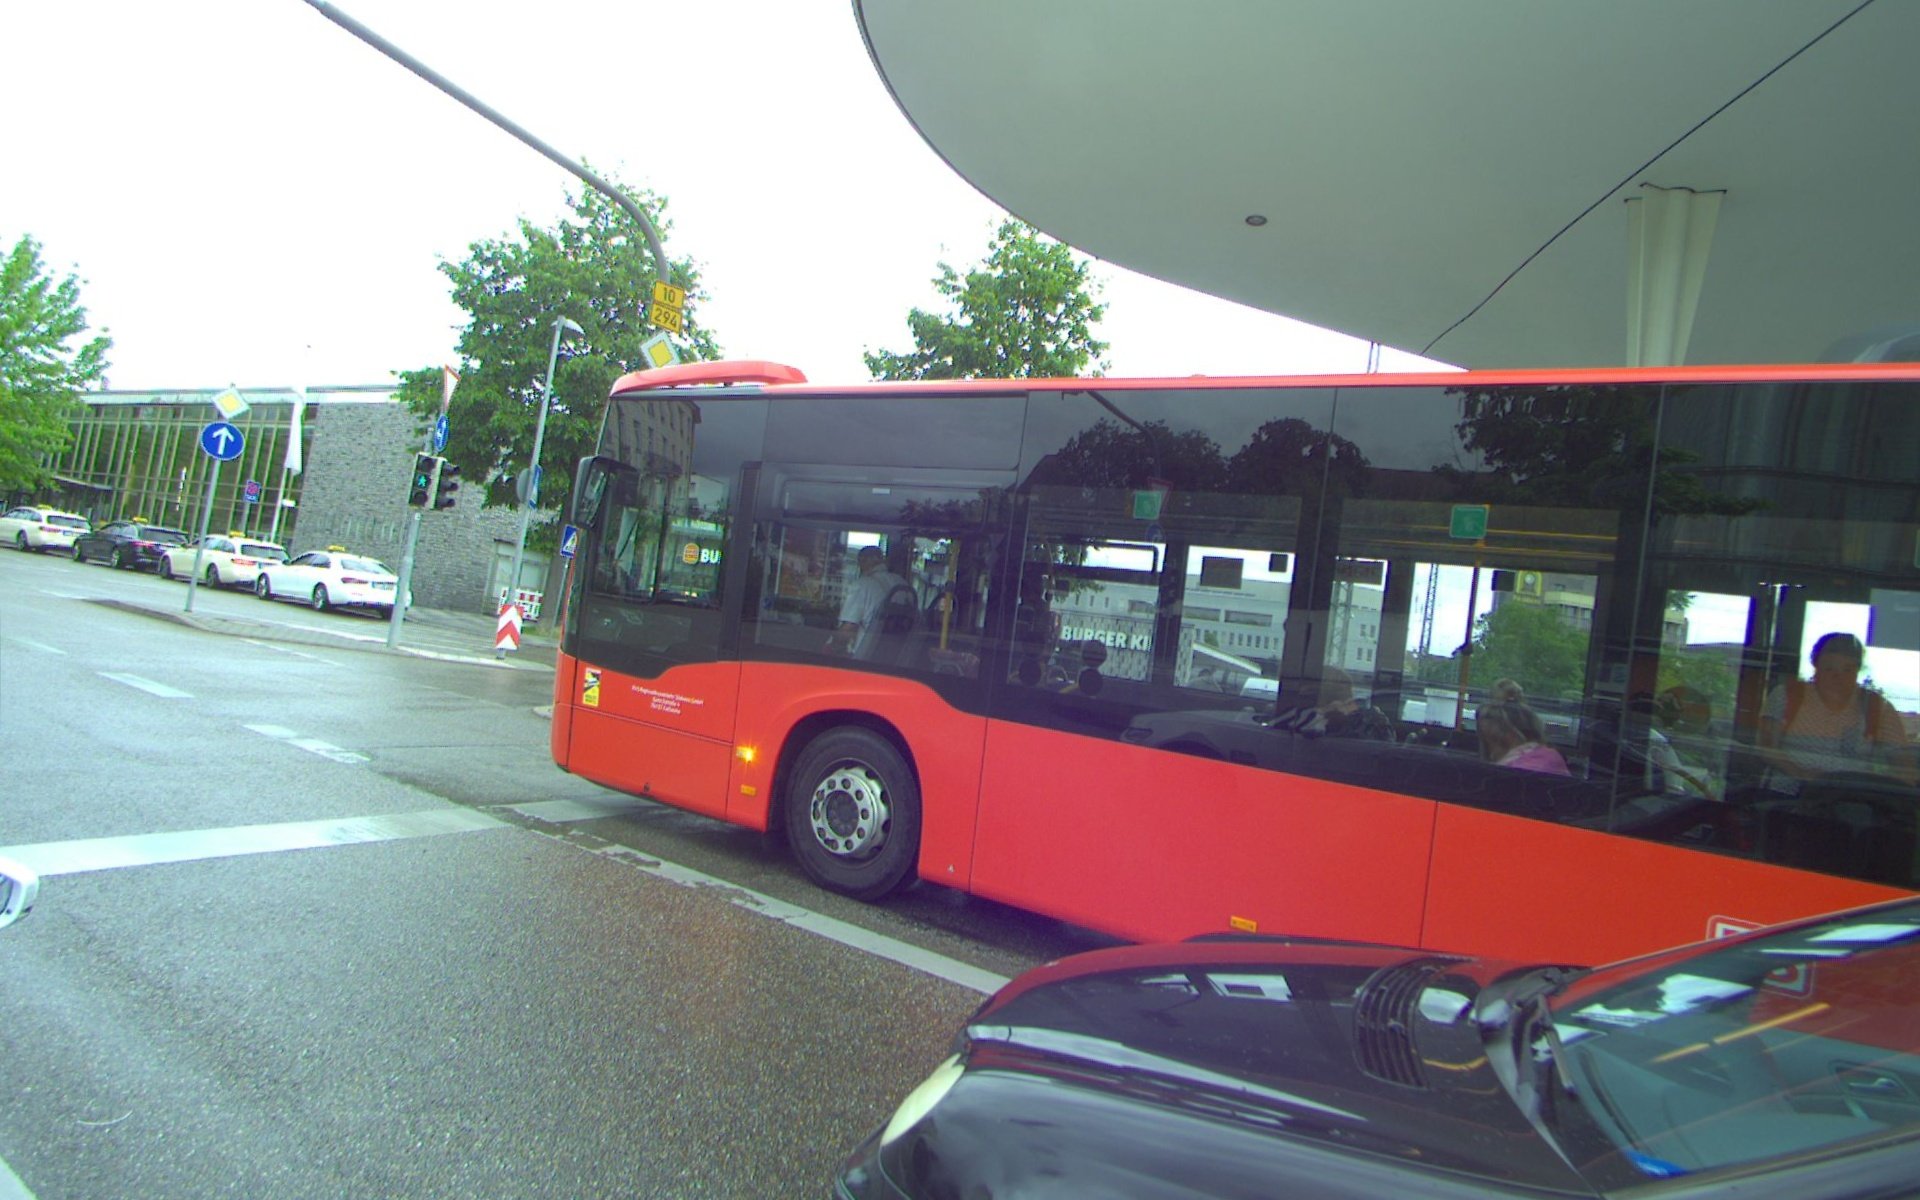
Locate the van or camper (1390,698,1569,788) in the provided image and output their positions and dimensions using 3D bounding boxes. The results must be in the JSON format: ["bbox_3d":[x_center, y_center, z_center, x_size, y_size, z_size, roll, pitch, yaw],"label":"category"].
[{"bbox_3d":[20.350,5.545,39.539,5.873,2.491,2.108,7,-2,32],"label":"van or camper"}]

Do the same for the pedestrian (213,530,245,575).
[{"bbox_3d":[-29.198,-1.907,40.184,0.703,1.665,0.566,7,-1,27],"label":"pedestrian"}]

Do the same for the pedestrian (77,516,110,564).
[{"bbox_3d":[-32.950,-2.279,38.257,0.703,1.729,0.566,7,-1,27],"label":"pedestrian"}]

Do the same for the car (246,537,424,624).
[{"bbox_3d":[-15.841,-0.509,25.451,4.538,1.608,1.779,7,-2,30],"label":"car"}]

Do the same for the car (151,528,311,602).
[{"bbox_3d":[-20.566,-1.000,28.347,4.588,1.468,1.851,7,-2,30],"label":"car"}]

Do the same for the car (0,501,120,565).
[{"bbox_3d":[-31.422,-2.368,34.530,4.736,1.618,2.000,7,-2,25],"label":"car"}]

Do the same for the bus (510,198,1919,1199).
[{"bbox_3d":[2.149,0.293,5.238,10.026,3.210,2.749,7,-2,32],"label":"bus"}]

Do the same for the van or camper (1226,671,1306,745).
[{"bbox_3d":[12.551,4.408,41.008,2.072,2.491,5.975,7,-3,25],"label":"van or camper"}]

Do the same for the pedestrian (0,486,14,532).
[{"bbox_3d":[-52.584,-5.016,55.025,0.848,2.439,0.844,7,-1,34],"label":"pedestrian"}]

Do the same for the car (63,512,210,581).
[{"bbox_3d":[-25.826,-1.702,31.519,4.661,1.542,1.918,7,-2,30],"label":"car"}]

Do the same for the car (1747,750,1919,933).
[{"bbox_3d":[11.243,2.802,10.559,4.360,1.666,1.806,7,-4,32],"label":"car"}]

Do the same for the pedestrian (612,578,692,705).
[{"bbox_3d":[-4.410,0.591,14.463,0.797,1.693,0.711,8,-1,-10],"label":"pedestrian"}]

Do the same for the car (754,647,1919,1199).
[{"bbox_3d":[1.933,1.136,1.379,4.364,1.495,1.750,6,-5,33],"label":"car"}]
